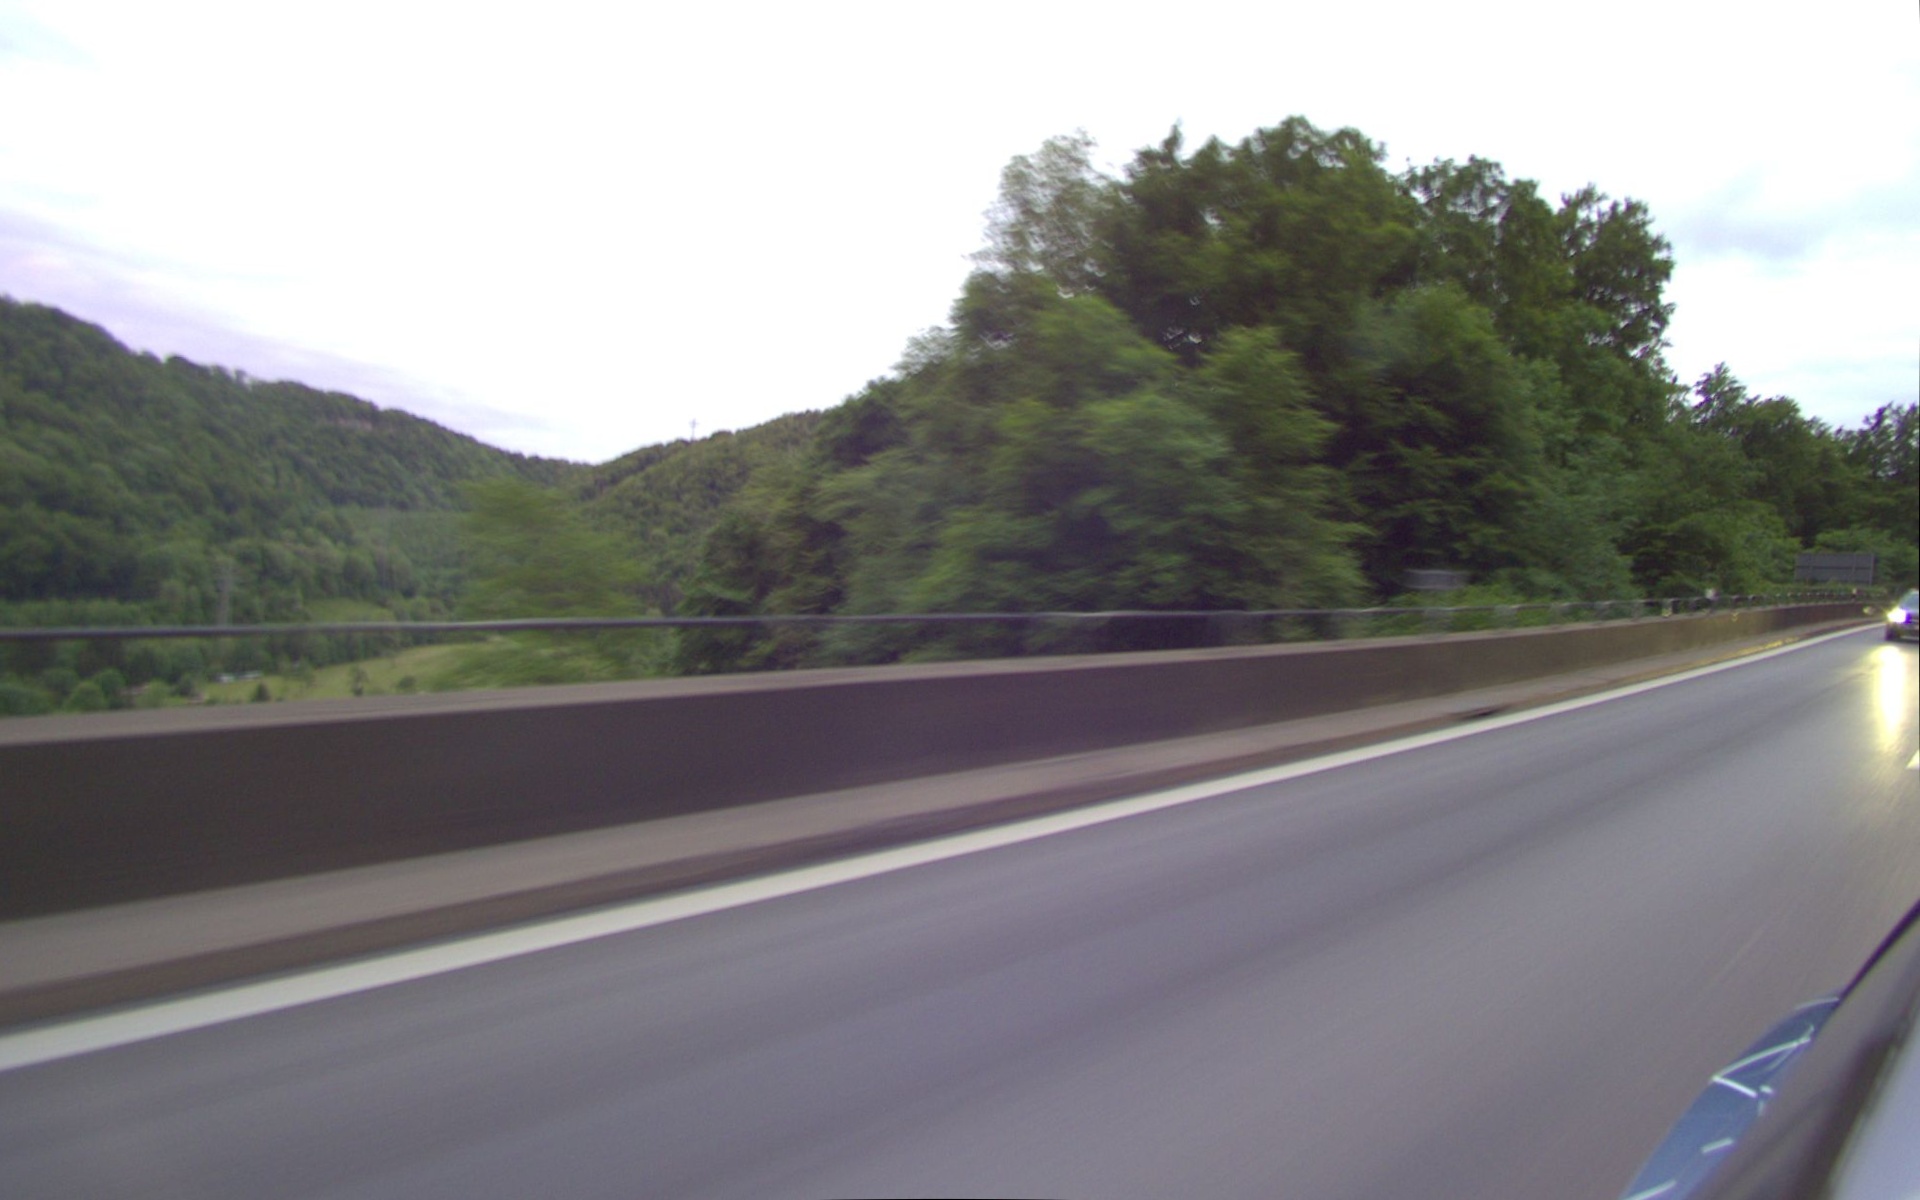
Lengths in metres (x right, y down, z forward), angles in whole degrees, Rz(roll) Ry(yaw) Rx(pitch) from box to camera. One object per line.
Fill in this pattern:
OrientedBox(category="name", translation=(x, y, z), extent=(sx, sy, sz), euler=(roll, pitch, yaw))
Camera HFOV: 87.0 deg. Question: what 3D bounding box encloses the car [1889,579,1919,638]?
OrientedBox(category="car", translation=(31.132, 0.307, 32.191), extent=(3.936, 1.658, 1.997), euler=(-2, 9, -45))
